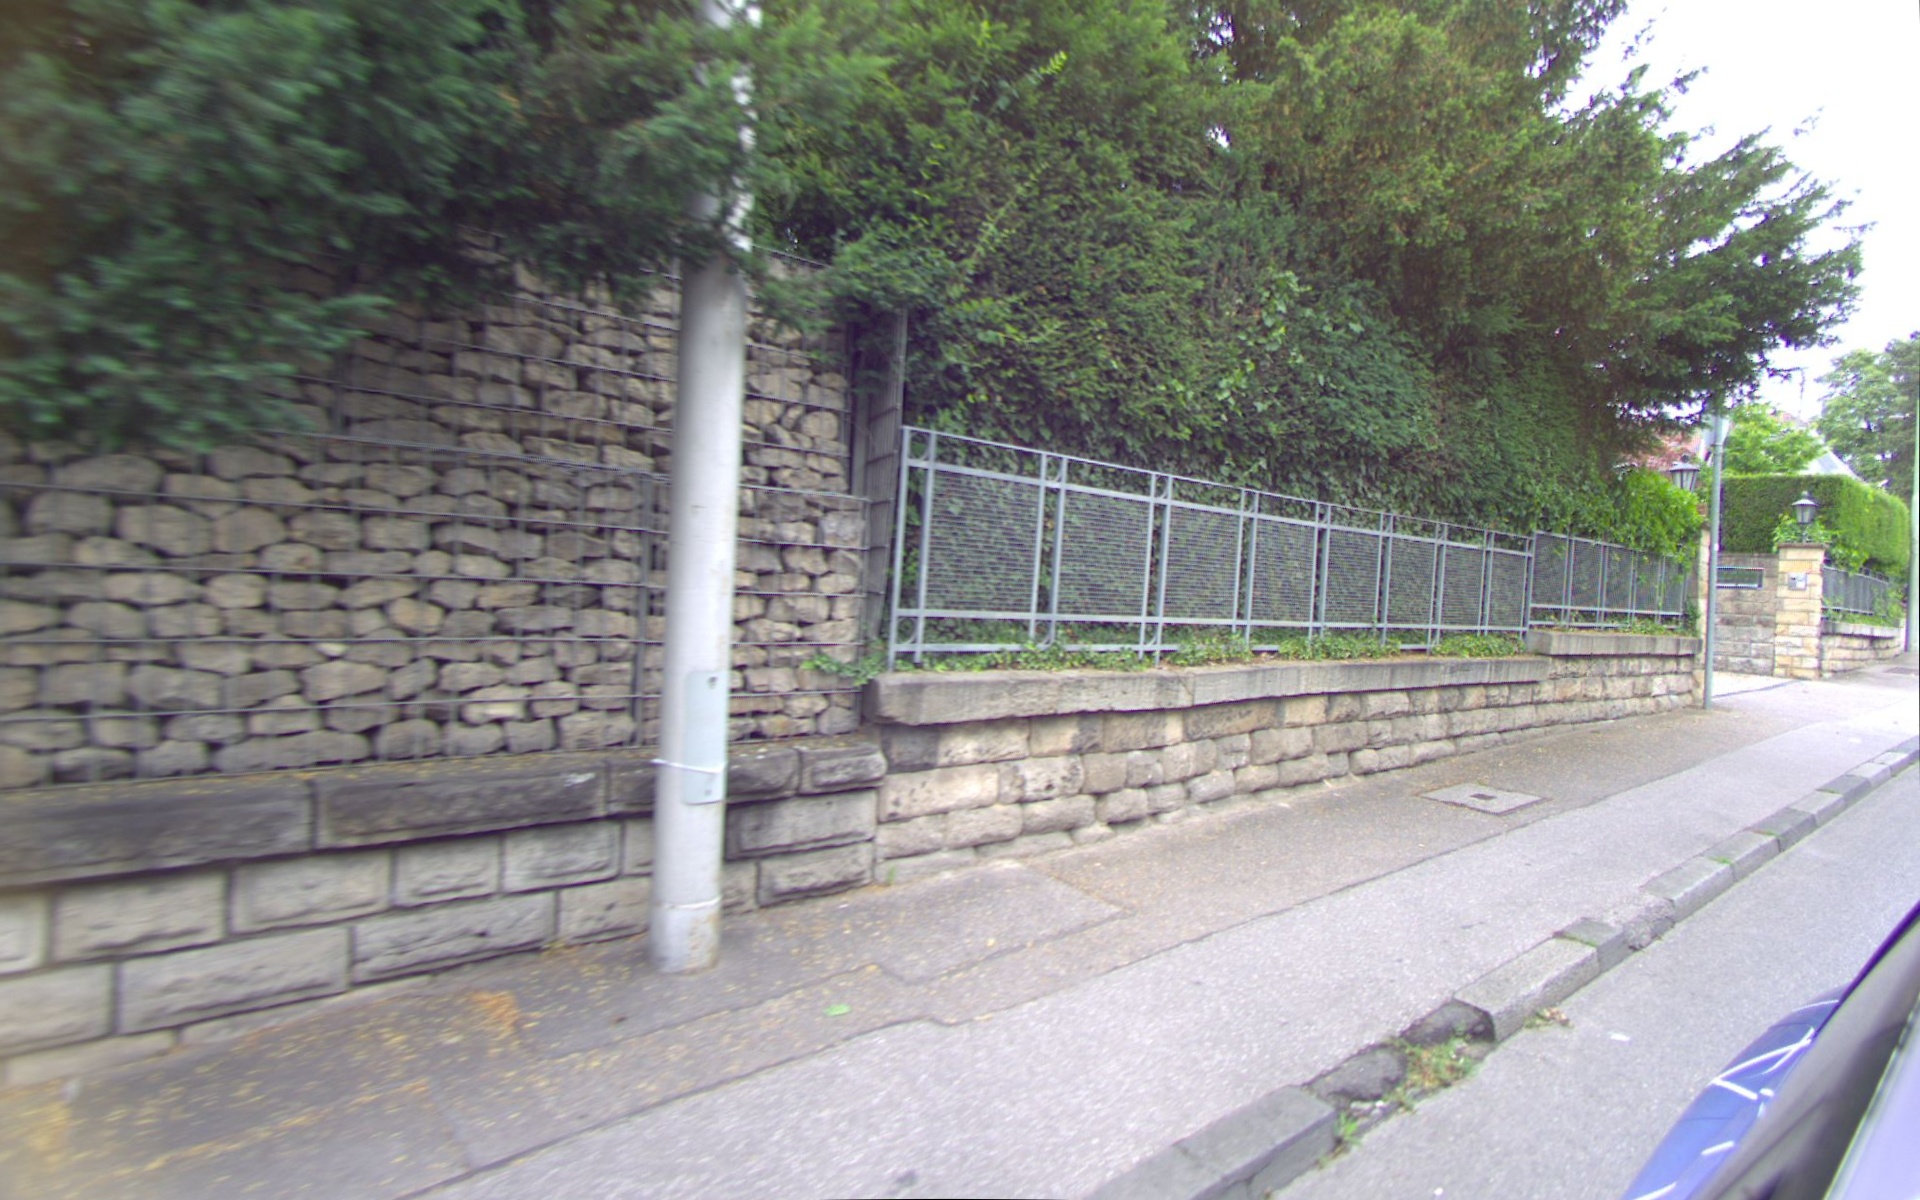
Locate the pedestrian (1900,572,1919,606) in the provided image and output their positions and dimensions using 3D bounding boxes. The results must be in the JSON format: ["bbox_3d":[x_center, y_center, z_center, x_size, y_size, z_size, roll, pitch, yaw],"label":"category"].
[{"bbox_3d":[52.639,-0.620,55.818,0.862,1.836,0.689,2,2,-11],"label":"pedestrian"}]

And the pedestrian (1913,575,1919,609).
[{"bbox_3d":[52.941,-0.443,55.554,0.591,1.857,0.614,2,2,-13],"label":"pedestrian"}]

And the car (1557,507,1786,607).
[{"bbox_3d":[16.096,-1.030,23.034,1.782,1.629,3.755,0,11,-40],"label":"car"}]
